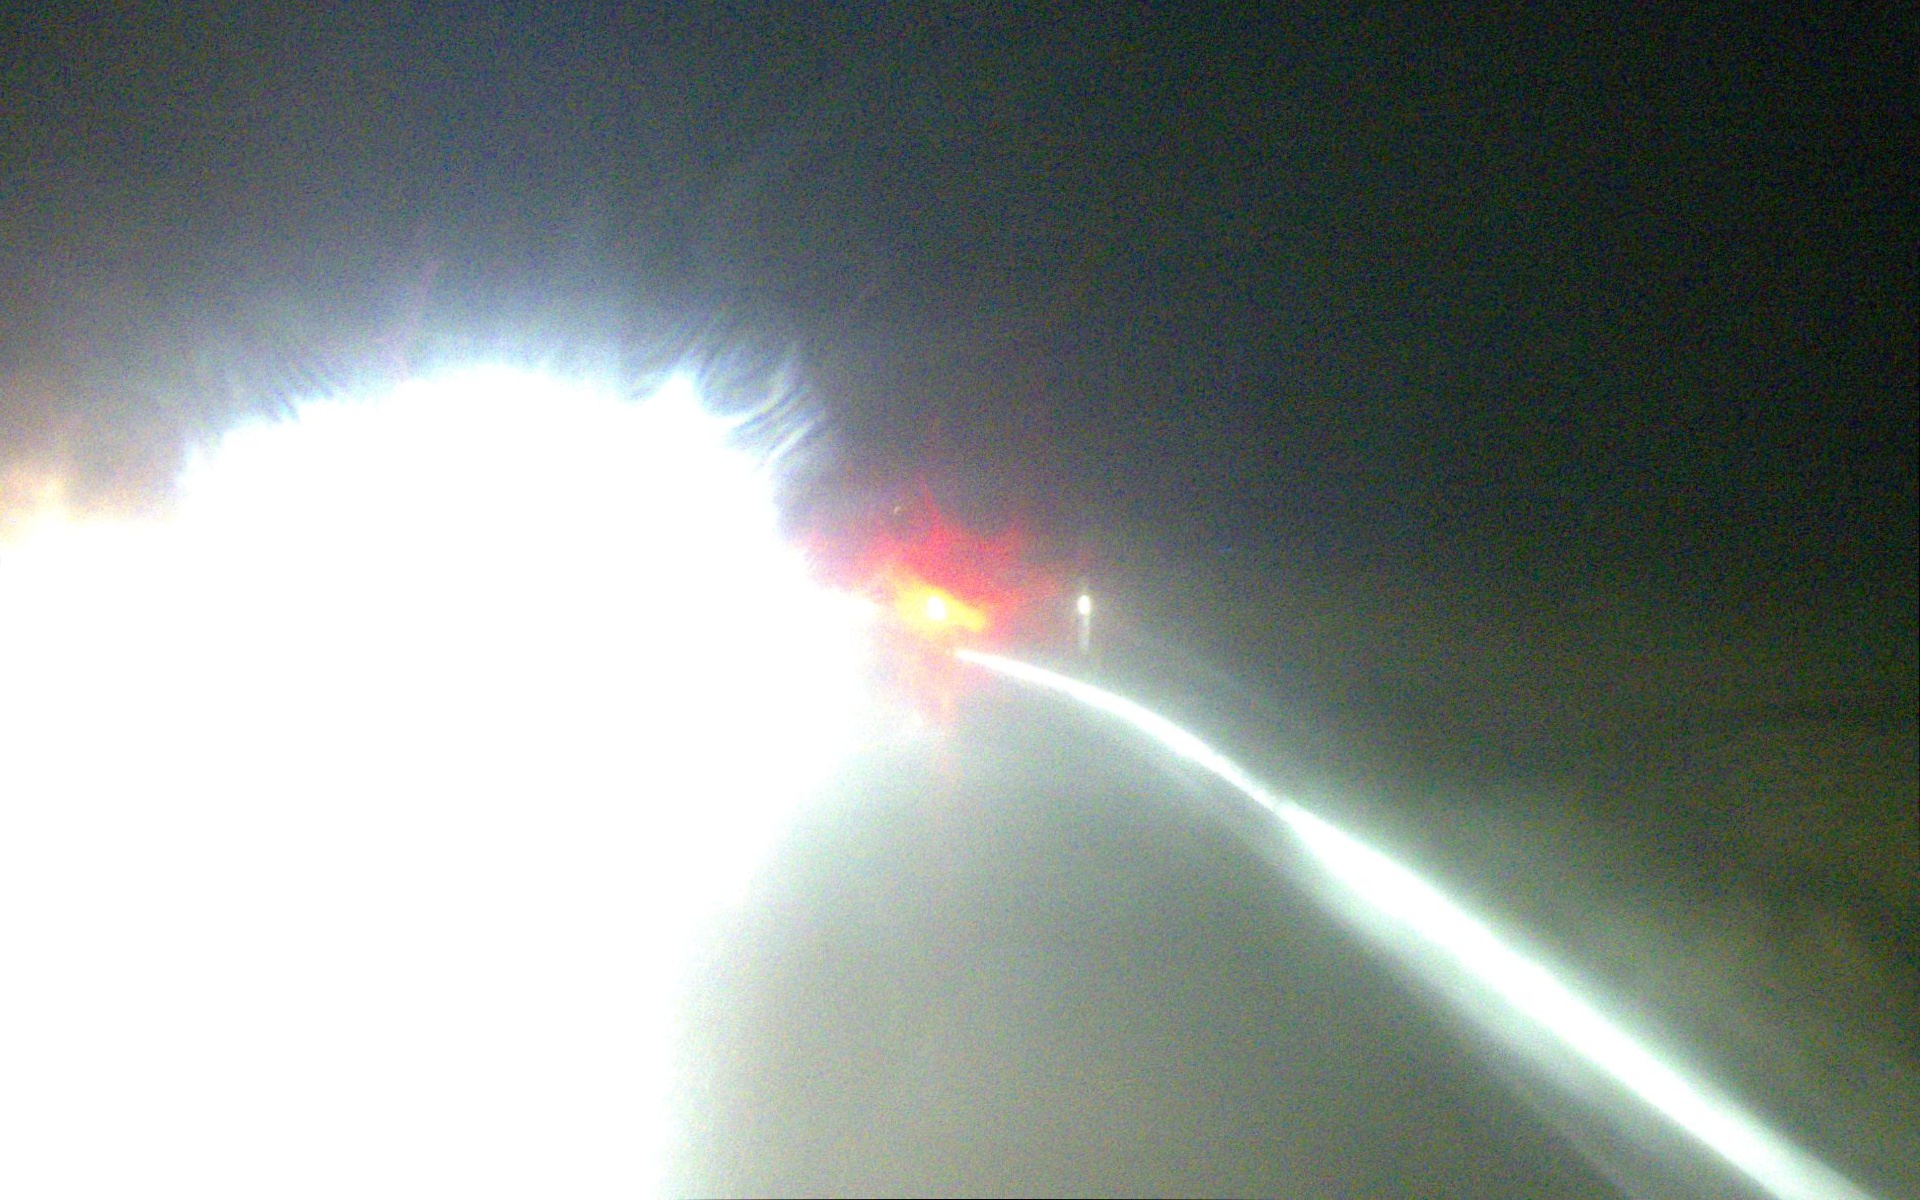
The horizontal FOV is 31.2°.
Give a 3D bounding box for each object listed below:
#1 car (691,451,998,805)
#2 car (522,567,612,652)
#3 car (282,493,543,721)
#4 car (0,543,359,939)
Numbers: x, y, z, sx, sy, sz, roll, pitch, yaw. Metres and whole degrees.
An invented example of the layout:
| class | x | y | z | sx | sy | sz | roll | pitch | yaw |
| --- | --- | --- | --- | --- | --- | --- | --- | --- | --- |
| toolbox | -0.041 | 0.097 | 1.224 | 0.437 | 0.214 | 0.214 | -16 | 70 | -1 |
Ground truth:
| class | x | y | z | sx | sy | sz | roll | pitch | yaw |
| --- | --- | --- | --- | --- | --- | --- | --- | --- | --- |
| car | -0.991 | 0.188 | 27.909 | 2.181 | 2.549 | 4.508 | 3 | 0 | -3 |
| car | -7.687 | 0.171 | 67.475 | 1.594 | 1.505 | 3.601 | -2 | 2 | -5 |
| car | -5.229 | 0.034 | 33.364 | 1.993 | 2.061 | 4.346 | 0 | 1 | -2 |
| car | -3.846 | 0.505 | 15.075 | 1.851 | 1.483 | 3.994 | 1 | 1 | -2 |
